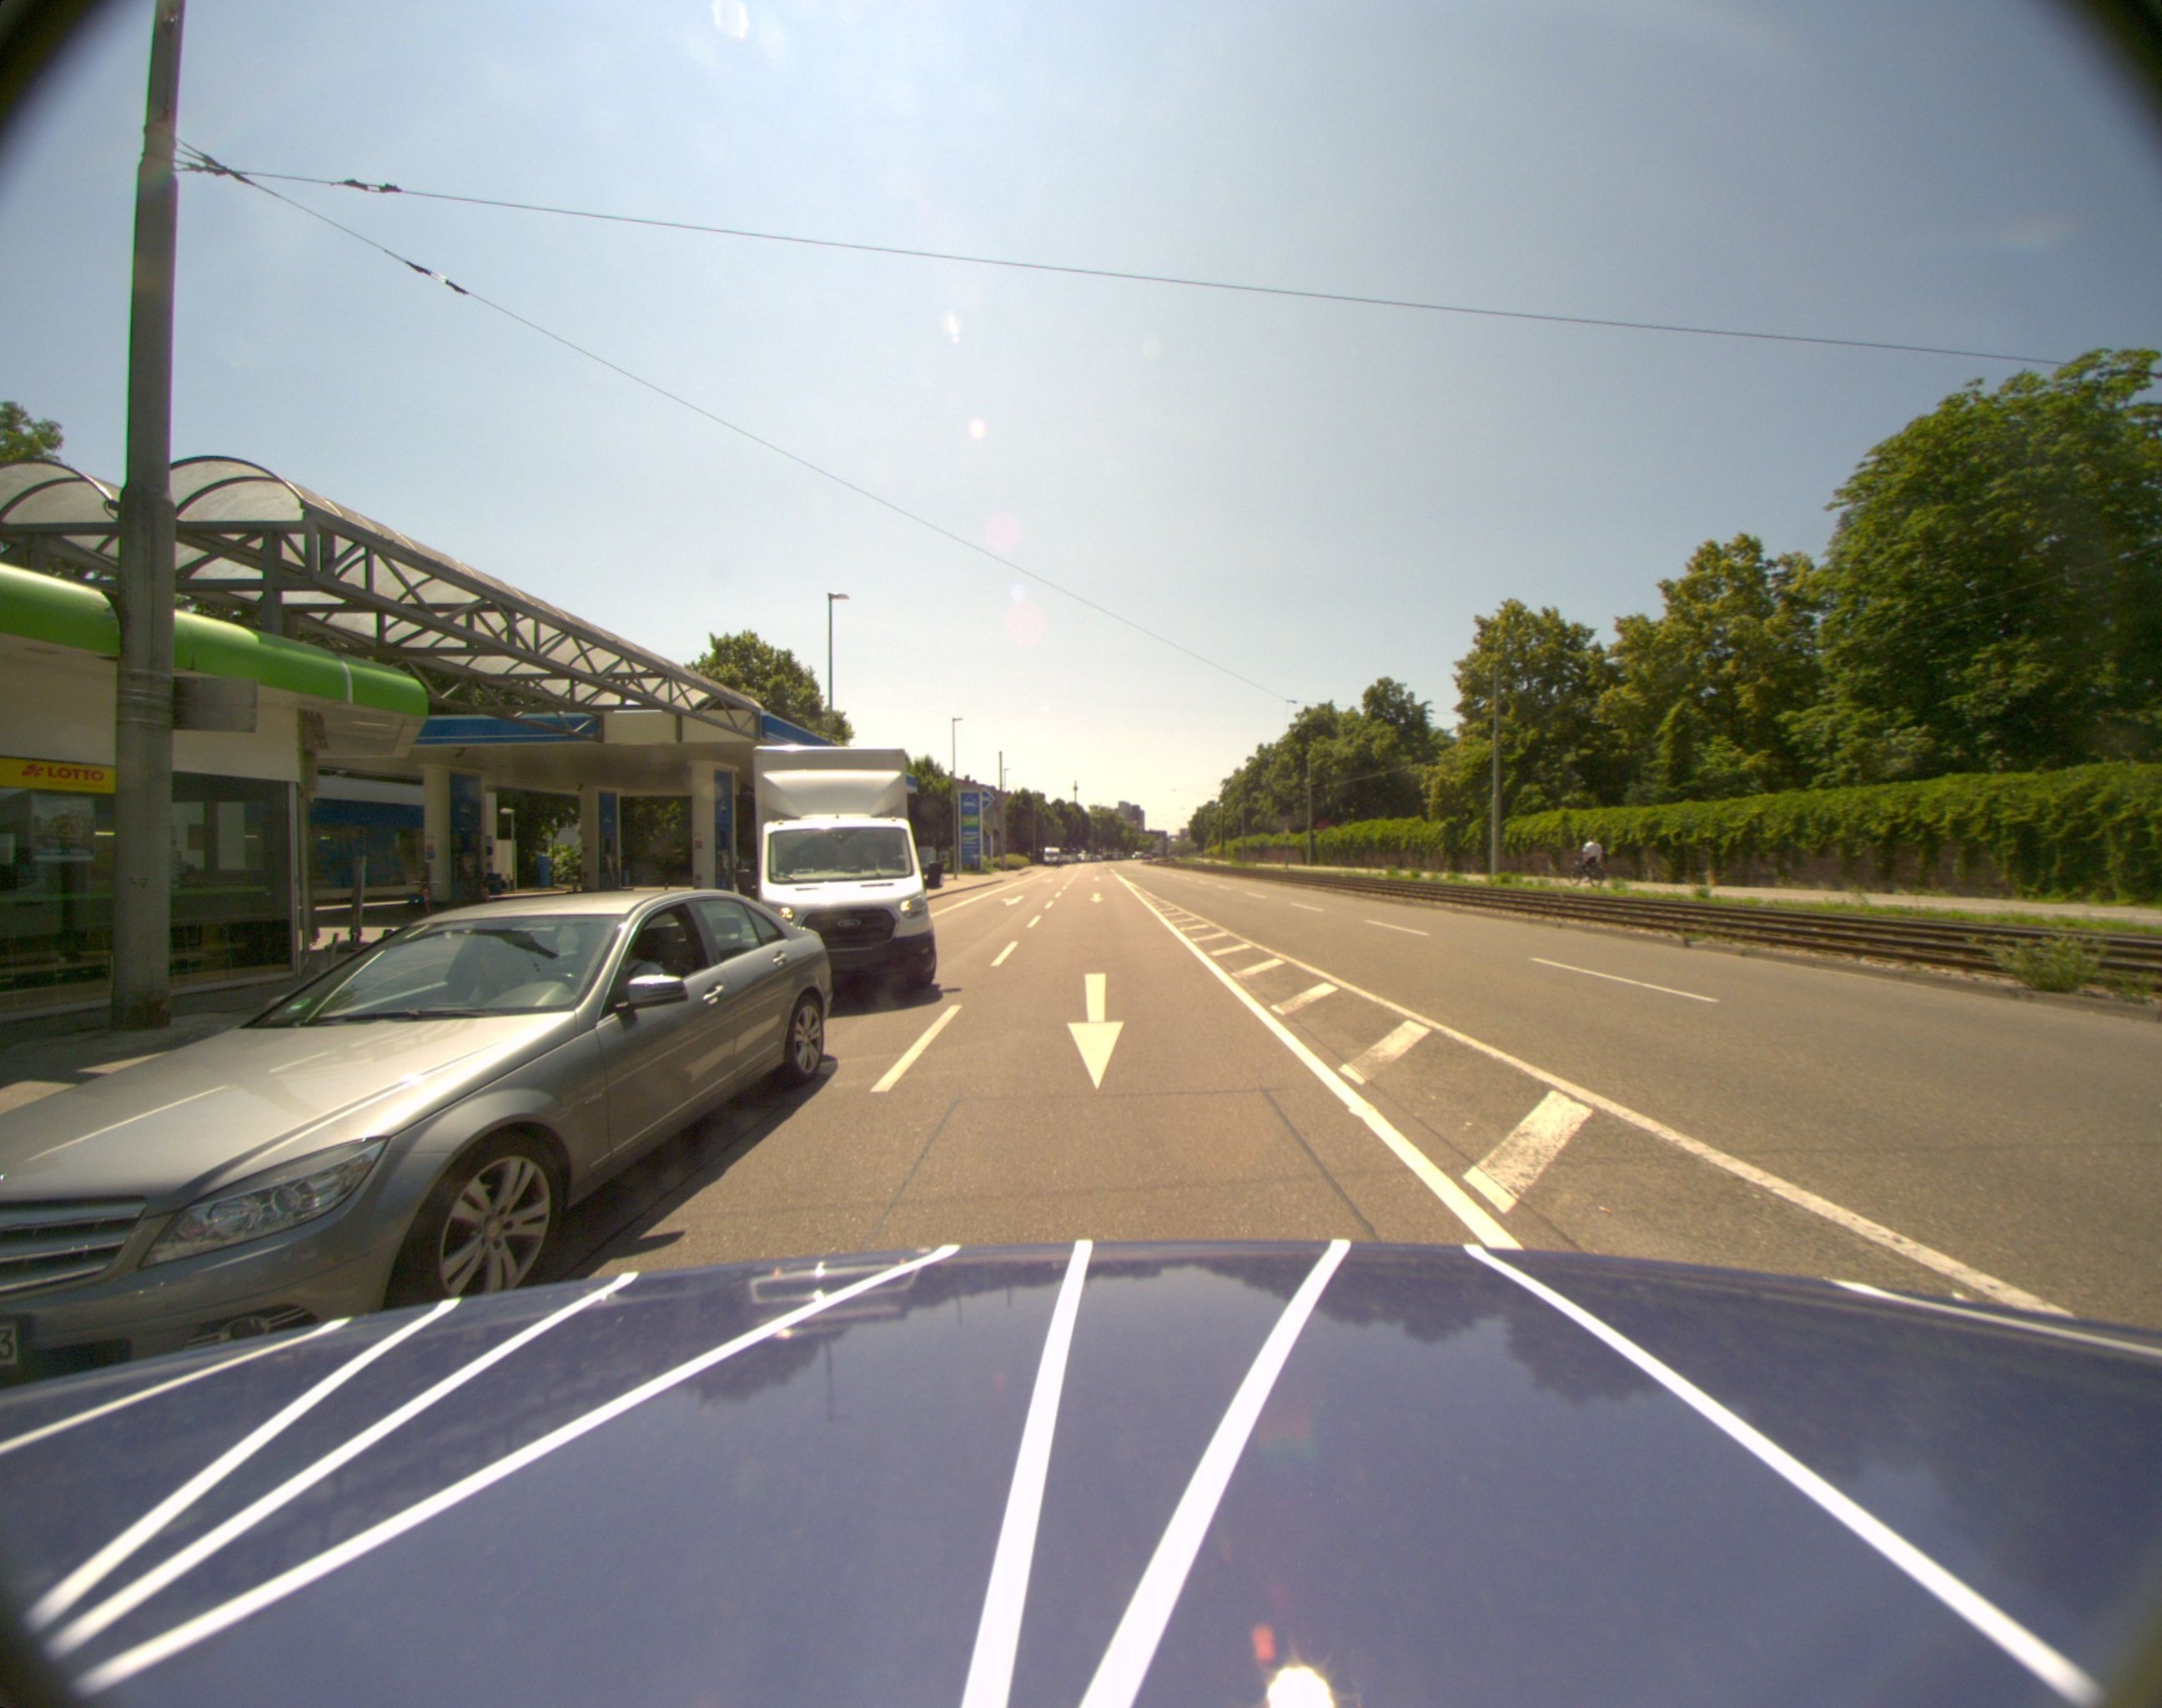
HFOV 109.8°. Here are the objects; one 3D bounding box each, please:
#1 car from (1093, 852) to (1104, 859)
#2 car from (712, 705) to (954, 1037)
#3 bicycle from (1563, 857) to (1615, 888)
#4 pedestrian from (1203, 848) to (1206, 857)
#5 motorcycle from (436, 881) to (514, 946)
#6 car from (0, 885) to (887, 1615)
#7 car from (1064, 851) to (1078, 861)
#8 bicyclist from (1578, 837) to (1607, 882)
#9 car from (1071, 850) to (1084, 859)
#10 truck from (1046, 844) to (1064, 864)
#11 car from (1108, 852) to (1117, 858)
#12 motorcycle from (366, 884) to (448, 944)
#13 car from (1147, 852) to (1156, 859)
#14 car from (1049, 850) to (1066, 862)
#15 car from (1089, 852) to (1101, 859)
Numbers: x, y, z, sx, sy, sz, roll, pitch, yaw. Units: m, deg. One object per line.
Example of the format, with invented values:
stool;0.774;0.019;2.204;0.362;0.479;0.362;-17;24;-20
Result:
car;4.053;0.296;176.801;1.911;1.488;4.002;-2;1;10
car;-3.912;0.151;12.011;2.232;3.316;8.622;-3;1;-19
bicycle;18.368;0.651;27.532;0.617;1.049;1.978;-2;1;2
pedestrian;24.415;-0.254;149.957;0.453;1.655;0.302;-2;0;1
motorcycle;-11.573;1.127;14.519;1.157;1.203;0.364;1;-1;-1
car;-2.783;1.052;4.413;1.717;1.464;5.302;-3;0;2
car;-1.645;0.277;126.600;1.912;1.488;4.001;-2;1;4
bicyclist;18.343;0.191;27.259;0.483;1.603;0.769;-2;1;1
car;-0.618;0.087;139.151;1.912;1.488;4.001;-2;1;4
truck;-3.451;-0.023;101.381;1.998;2.462;5.237;-2;1;1
car;8.369;0.328;203.140;1.911;1.488;4.002;-2;1;10
motorcycle;-12.837;1.140;14.485;1.157;1.107;0.396;1;-1;-1
car;17.957;0.373;193.381;1.800;1.488;3.966;-2;0;11
car;-3.316;0.290;108.957;1.912;1.488;4.001;-2;1;4
car;3.190;0.382;172.001;1.911;1.488;4.002;-2;1;10
